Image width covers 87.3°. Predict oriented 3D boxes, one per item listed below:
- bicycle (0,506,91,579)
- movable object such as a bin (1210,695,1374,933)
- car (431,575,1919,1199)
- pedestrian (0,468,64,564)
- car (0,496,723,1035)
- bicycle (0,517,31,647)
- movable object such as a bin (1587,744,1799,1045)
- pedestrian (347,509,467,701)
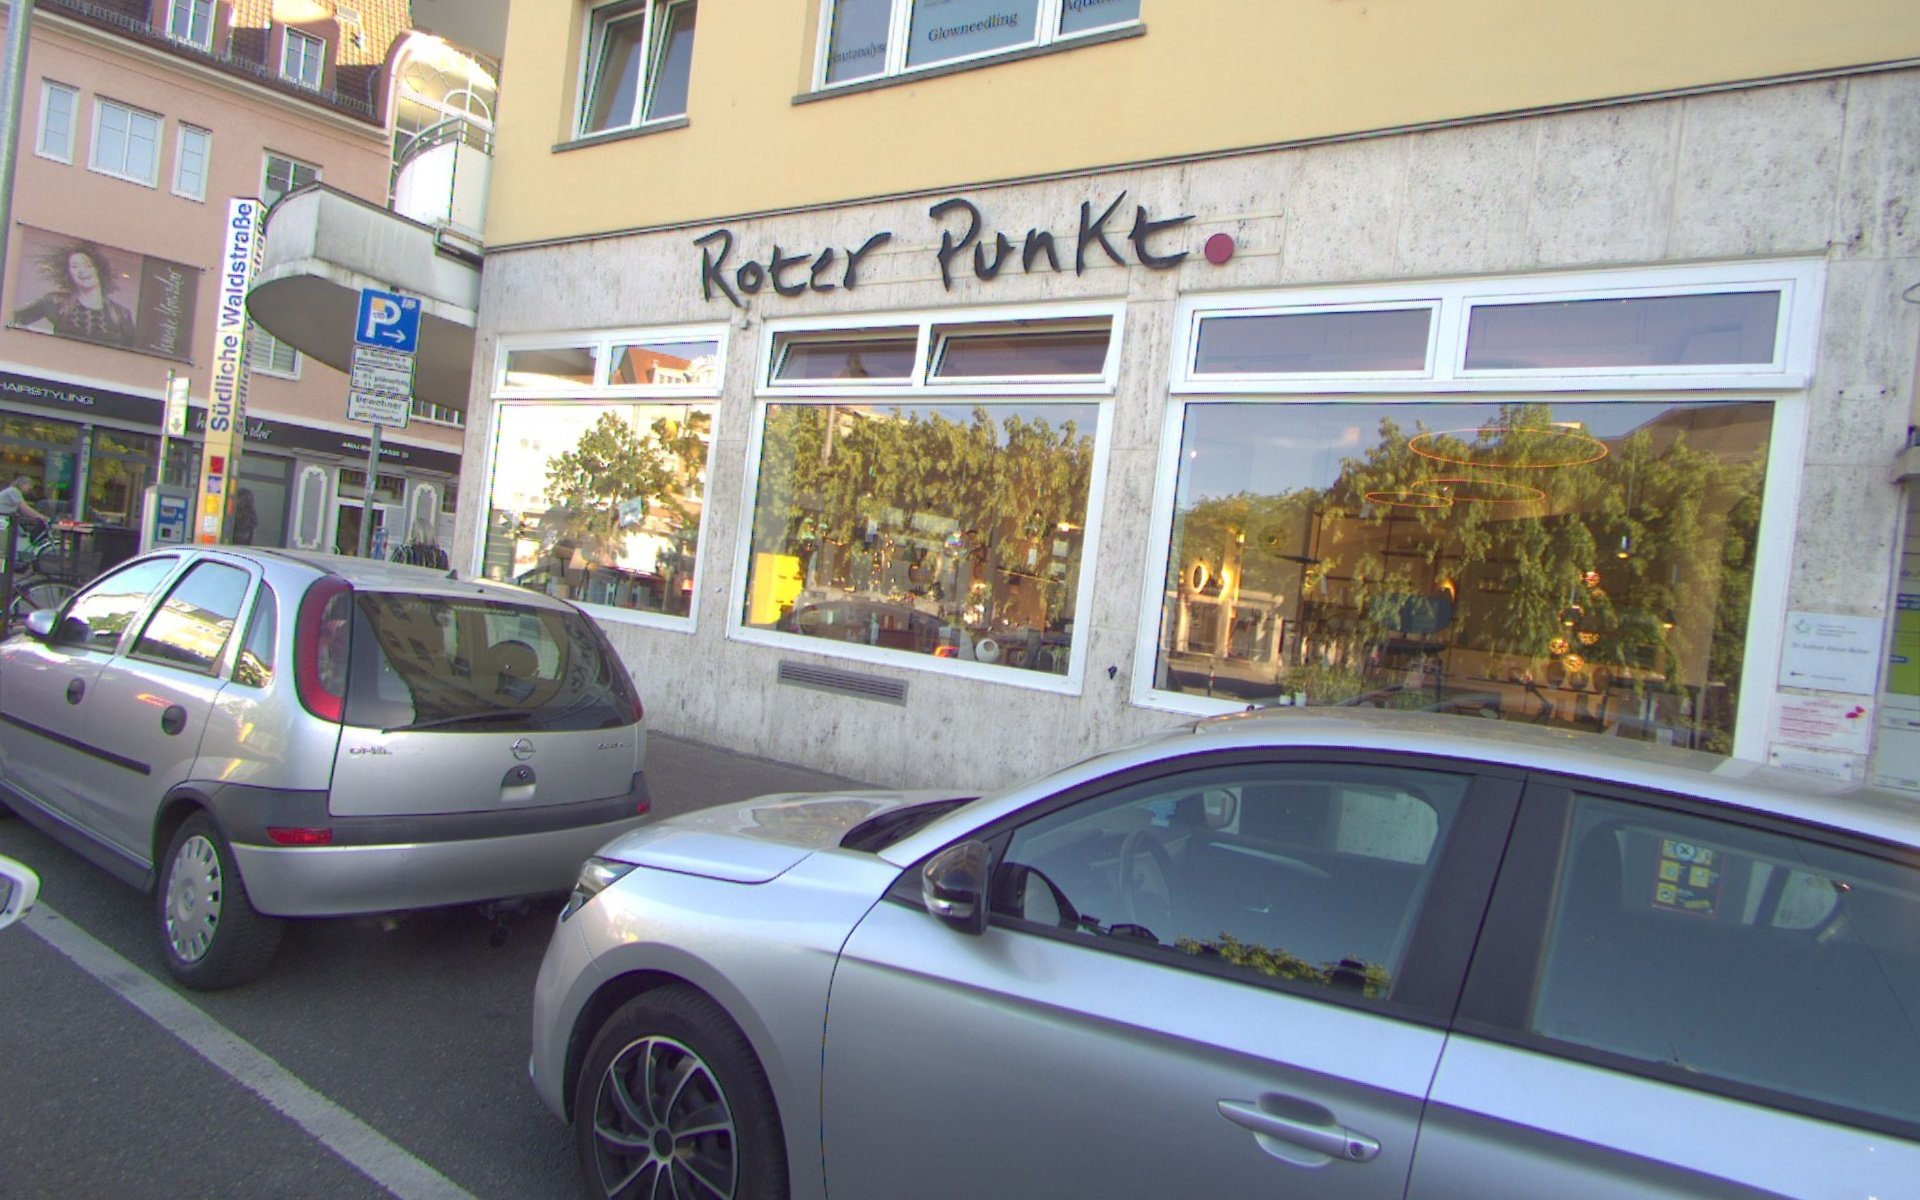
[{"bbox_3d":[-15.683,-0.991,16.818,0.583,1.057,1.612,6,-2,44],"label":"bicycle"},{"bbox_3d":[1.824,1.118,5.498,0.609,1.082,0.703,7,3,31],"label":"movable object such as a bin"},{"bbox_3d":[0.918,0.928,2.227,4.007,1.444,1.674,7,-1,29],"label":"car"},{"bbox_3d":[-15.617,-1.398,16.857,0.575,1.457,0.741,6,-1,44],"label":"pedestrian"},{"bbox_3d":[-3.092,0.405,4.537,3.822,1.411,1.624,7,-1,33],"label":"car"},{"bbox_3d":[-9.263,-0.209,8.748,0.425,1.175,1.629,7,1,30],"label":"bicycle"},{"bbox_3d":[3.290,1.277,4.585,0.609,1.082,0.703,7,3,31],"label":"movable object such as a bin"},{"bbox_3d":[-5.034,0.046,9.159,0.618,1.654,0.661,6,2,36],"label":"pedestrian"}]
